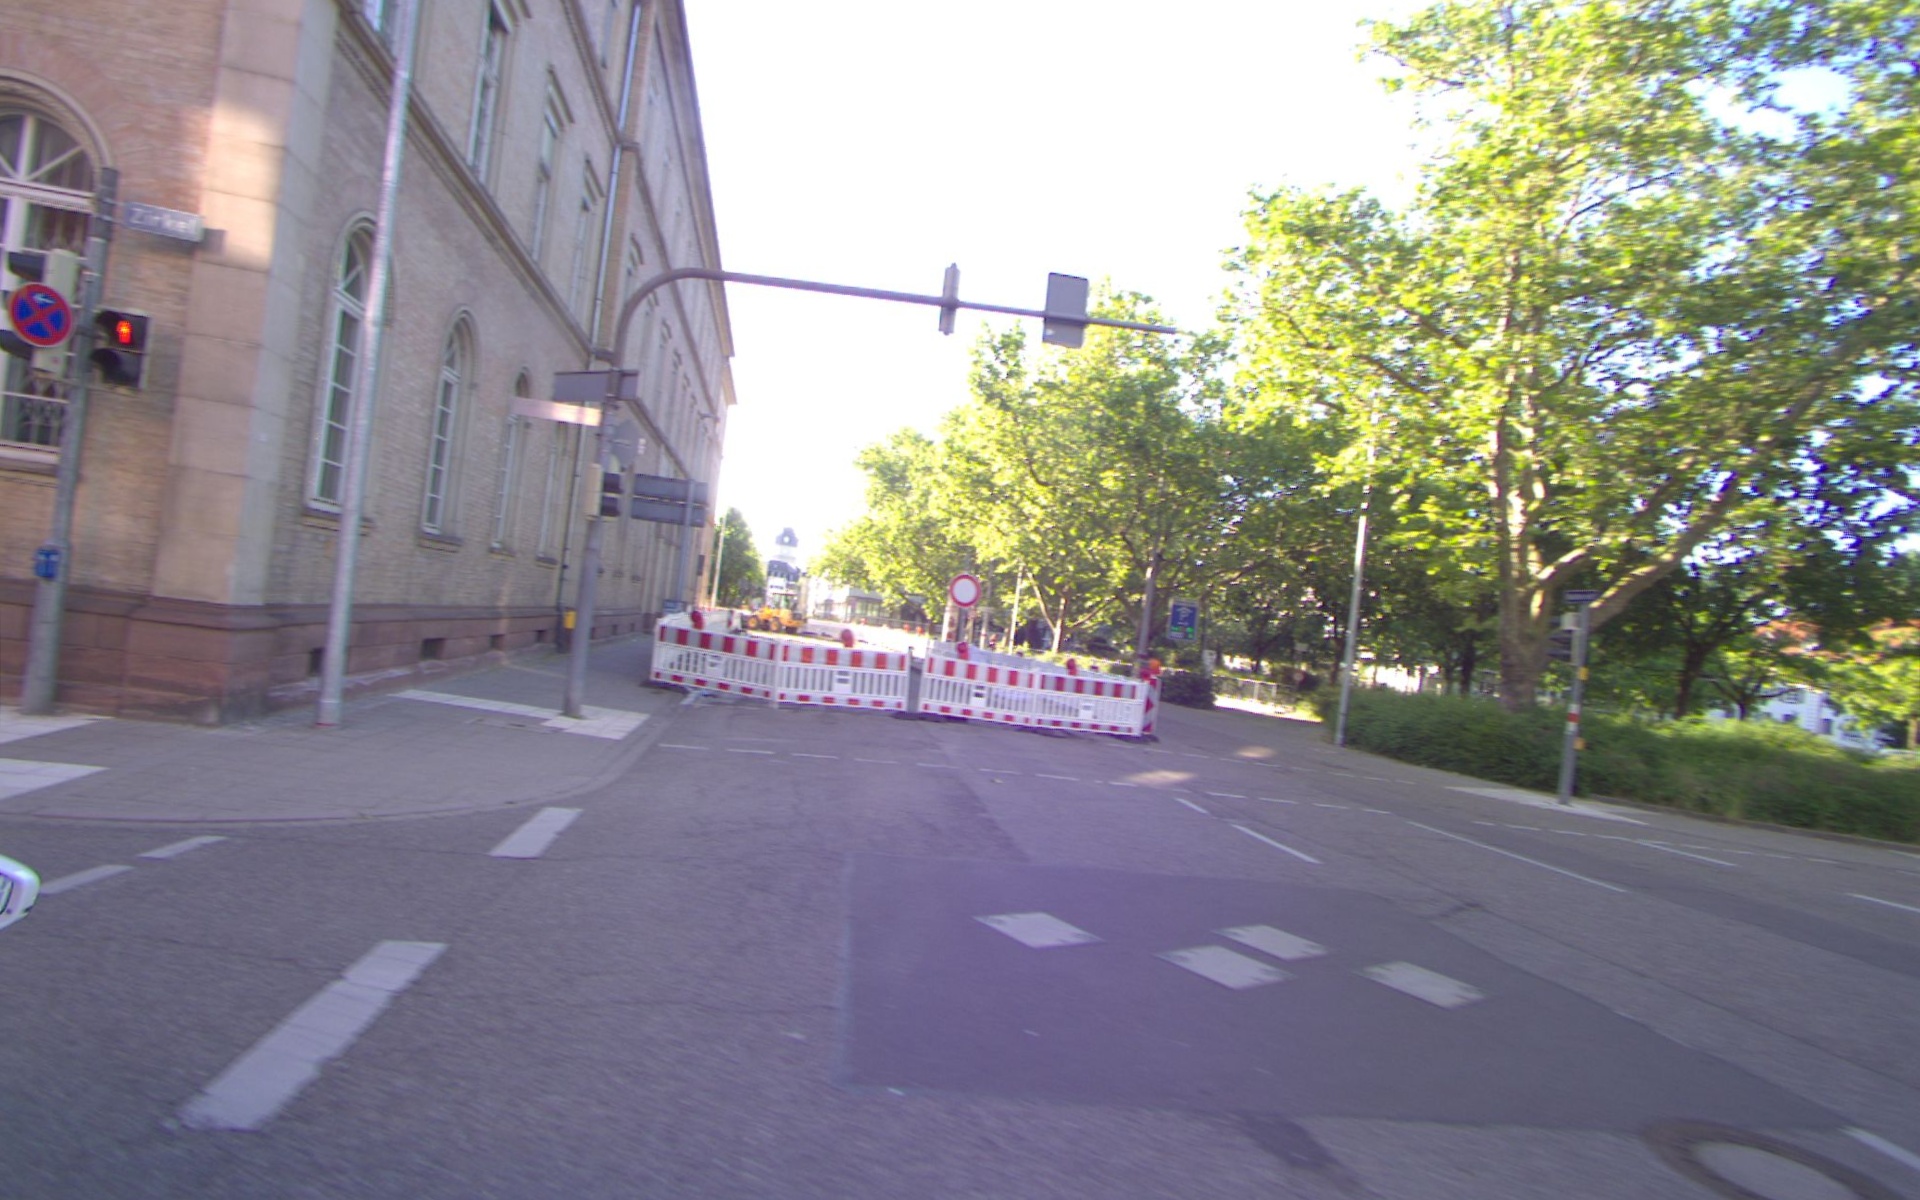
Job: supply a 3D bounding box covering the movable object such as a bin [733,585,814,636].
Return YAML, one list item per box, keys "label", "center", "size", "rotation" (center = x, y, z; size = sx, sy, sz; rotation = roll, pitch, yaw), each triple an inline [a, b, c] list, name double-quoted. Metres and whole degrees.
- label: "movable object such as a bin"
  center: [-12.698, 0.707, 68.439]
  size: [4.762, 2.809, 2.470]
  rotation: [6, -1, 32]

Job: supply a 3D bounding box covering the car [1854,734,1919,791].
- label: "car"
  center: [35.475, 6.098, 36.557]
  size: [1.967, 1.800, 3.994]
  rotation: [7, -2, -11]

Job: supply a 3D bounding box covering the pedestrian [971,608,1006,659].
- label: "pedestrian"
  center: [1.616, 1.923, 56.815]
  size: [1.397, 2.699, 1.149]
  rotation: [6, -1, 17]
